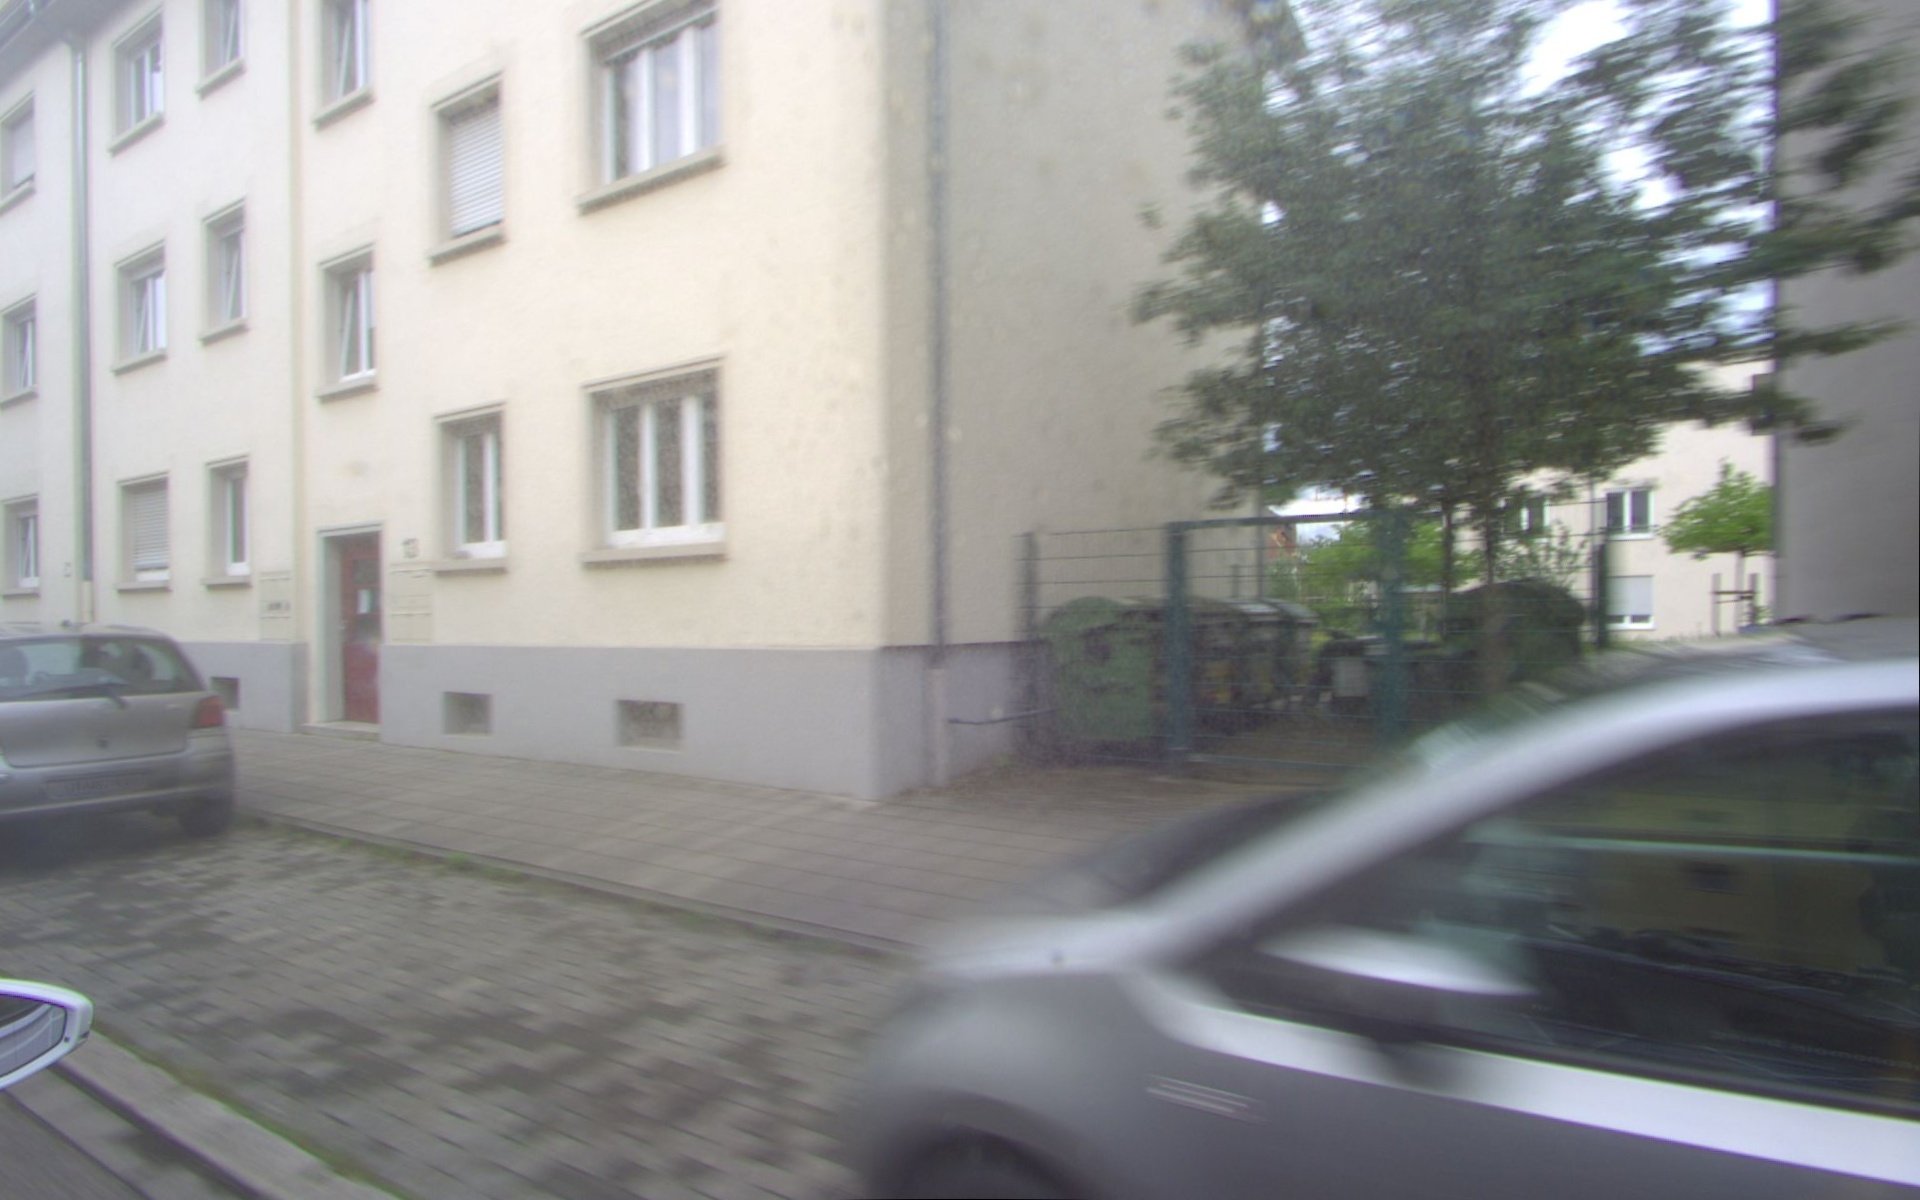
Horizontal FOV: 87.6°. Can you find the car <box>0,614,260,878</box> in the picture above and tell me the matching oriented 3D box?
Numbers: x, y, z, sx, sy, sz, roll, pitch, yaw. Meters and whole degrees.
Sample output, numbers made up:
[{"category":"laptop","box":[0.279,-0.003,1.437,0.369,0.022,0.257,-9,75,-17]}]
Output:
[{"category":"car","box":[-7.036,0.879,7.333,4.002,1.537,1.722,-1,-1,32]}]

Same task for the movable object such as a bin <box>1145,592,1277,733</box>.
[{"category":"movable object such as a bin","box":[2.811,0.662,11.164,1.133,1.462,1.159,0,0,32]}]

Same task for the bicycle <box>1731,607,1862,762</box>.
[{"category":"bicycle","box":[7.651,0.725,9.224,0.589,1.299,1.614,0,-1,28]}]

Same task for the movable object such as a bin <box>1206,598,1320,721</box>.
[{"category":"movable object such as a bin","box":[3.844,0.719,12.674,1.133,1.462,1.159,0,0,32]}]

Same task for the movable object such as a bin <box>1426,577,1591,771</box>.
[{"category":"movable object such as a bin","box":[4.572,0.571,8.332,1.133,1.462,1.159,0,0,32]}]

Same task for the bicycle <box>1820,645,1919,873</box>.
[{"category":"bicycle","box":[5.582,0.825,5.721,0.639,1.090,2.204,0,-1,31]}]

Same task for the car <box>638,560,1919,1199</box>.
[{"category":"car","box":[1.502,0.732,1.645,4.002,1.511,1.722,-1,-1,32]}]

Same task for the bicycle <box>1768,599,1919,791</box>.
[{"category":"bicycle","box":[6.697,0.663,7.583,0.589,1.299,1.614,0,-1,28]}]

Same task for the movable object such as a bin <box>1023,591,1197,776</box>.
[{"category":"movable object such as a bin","box":[1.318,0.672,8.684,1.133,1.462,1.159,0,0,32]}]

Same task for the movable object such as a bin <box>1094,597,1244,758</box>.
[{"category":"movable object such as a bin","box":[2.076,0.717,9.898,1.133,1.462,1.159,0,0,32]}]
